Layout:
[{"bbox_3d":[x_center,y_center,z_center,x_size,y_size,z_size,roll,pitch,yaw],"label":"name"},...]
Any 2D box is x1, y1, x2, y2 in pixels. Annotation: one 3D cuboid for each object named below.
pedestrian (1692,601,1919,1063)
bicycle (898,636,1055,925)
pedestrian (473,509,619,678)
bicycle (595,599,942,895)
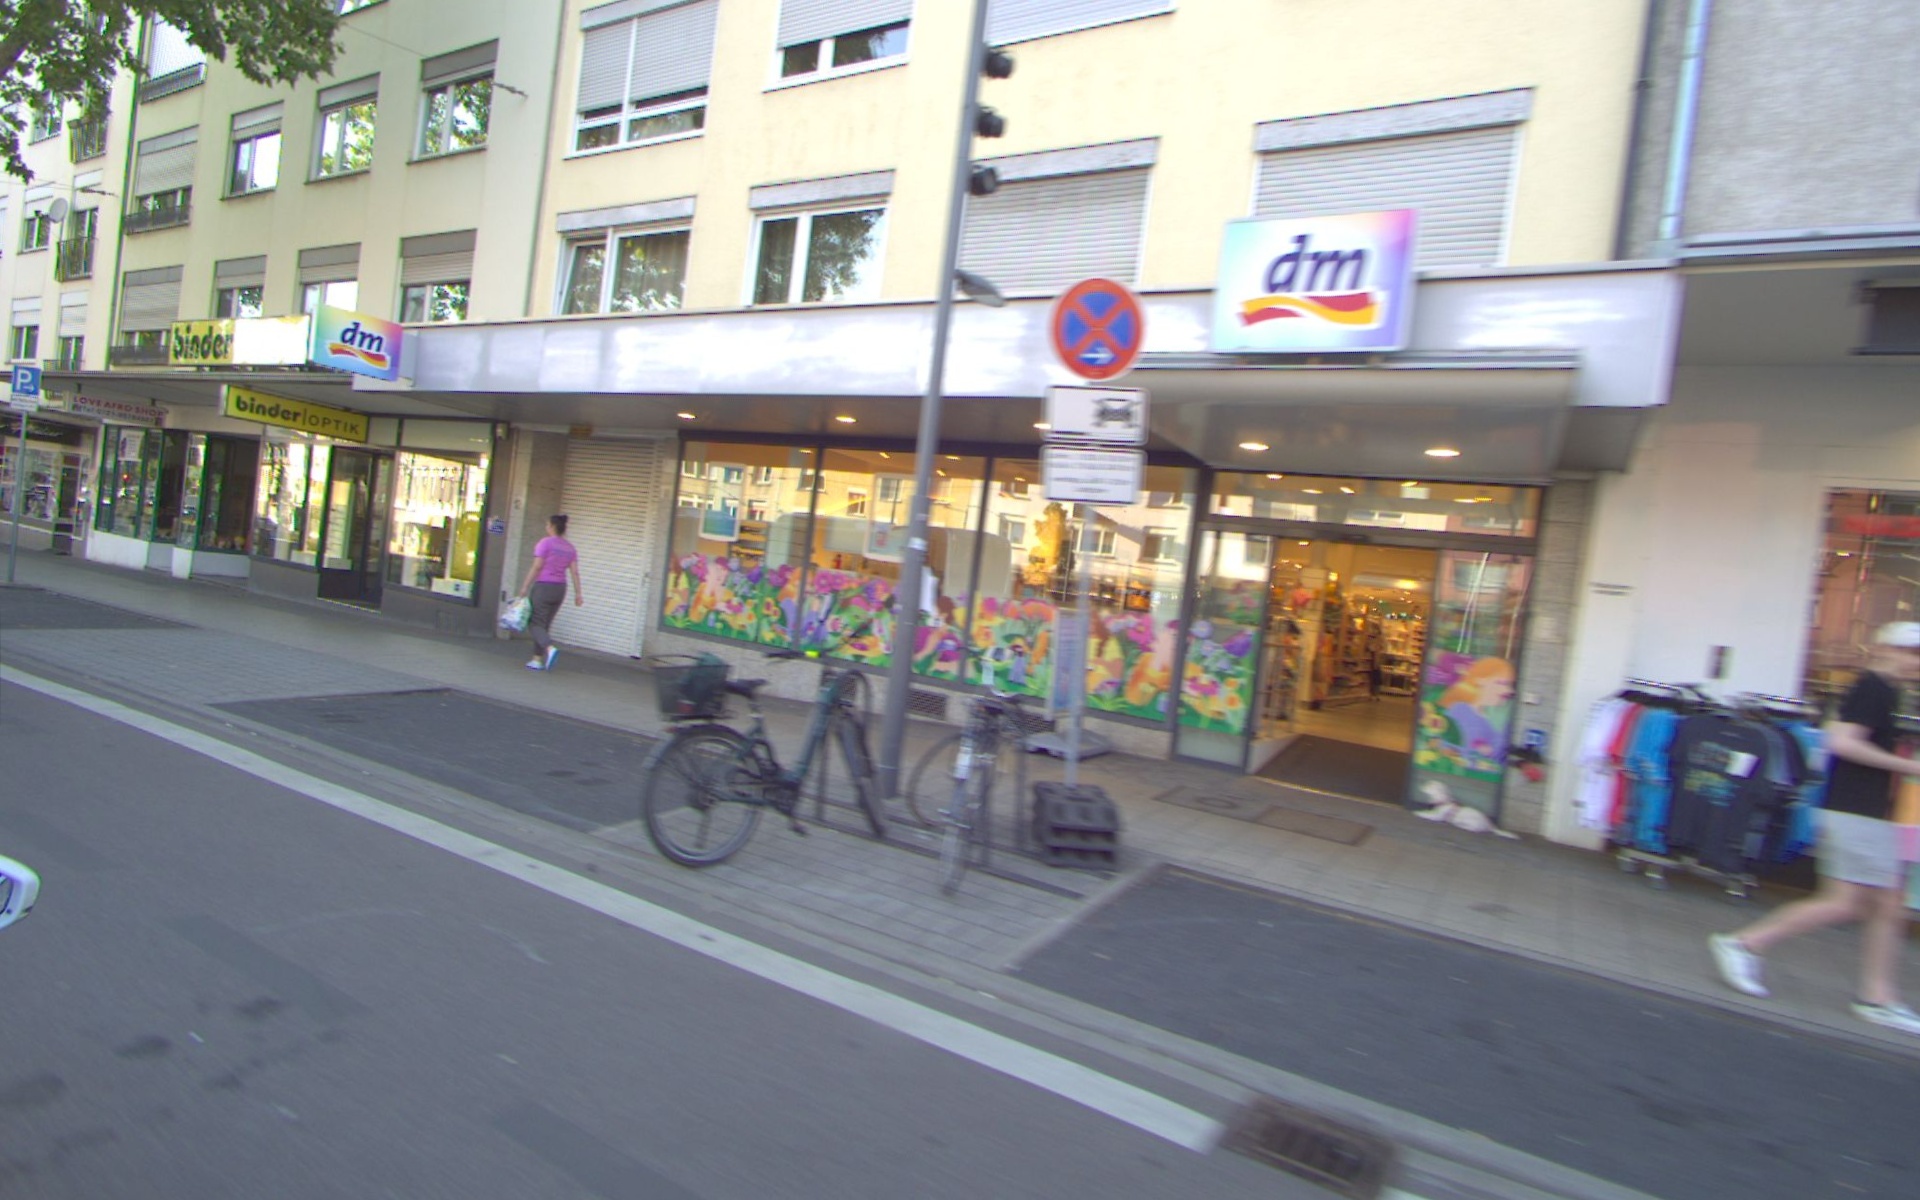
[{"bbox_3d":[4.017,0.969,4.522,0.915,1.825,0.773,8,4,33],"label":"pedestrian"},{"bbox_3d":[0.140,0.882,5.602,0.651,1.141,1.790,5,4,4],"label":"bicycle"},{"bbox_3d":[-4.768,-0.071,11.615,1.115,1.786,0.968,6,1,31],"label":"pedestrian"},{"bbox_3d":[-0.998,0.692,5.565,0.684,1.331,1.780,8,6,42],"label":"bicycle"}]
